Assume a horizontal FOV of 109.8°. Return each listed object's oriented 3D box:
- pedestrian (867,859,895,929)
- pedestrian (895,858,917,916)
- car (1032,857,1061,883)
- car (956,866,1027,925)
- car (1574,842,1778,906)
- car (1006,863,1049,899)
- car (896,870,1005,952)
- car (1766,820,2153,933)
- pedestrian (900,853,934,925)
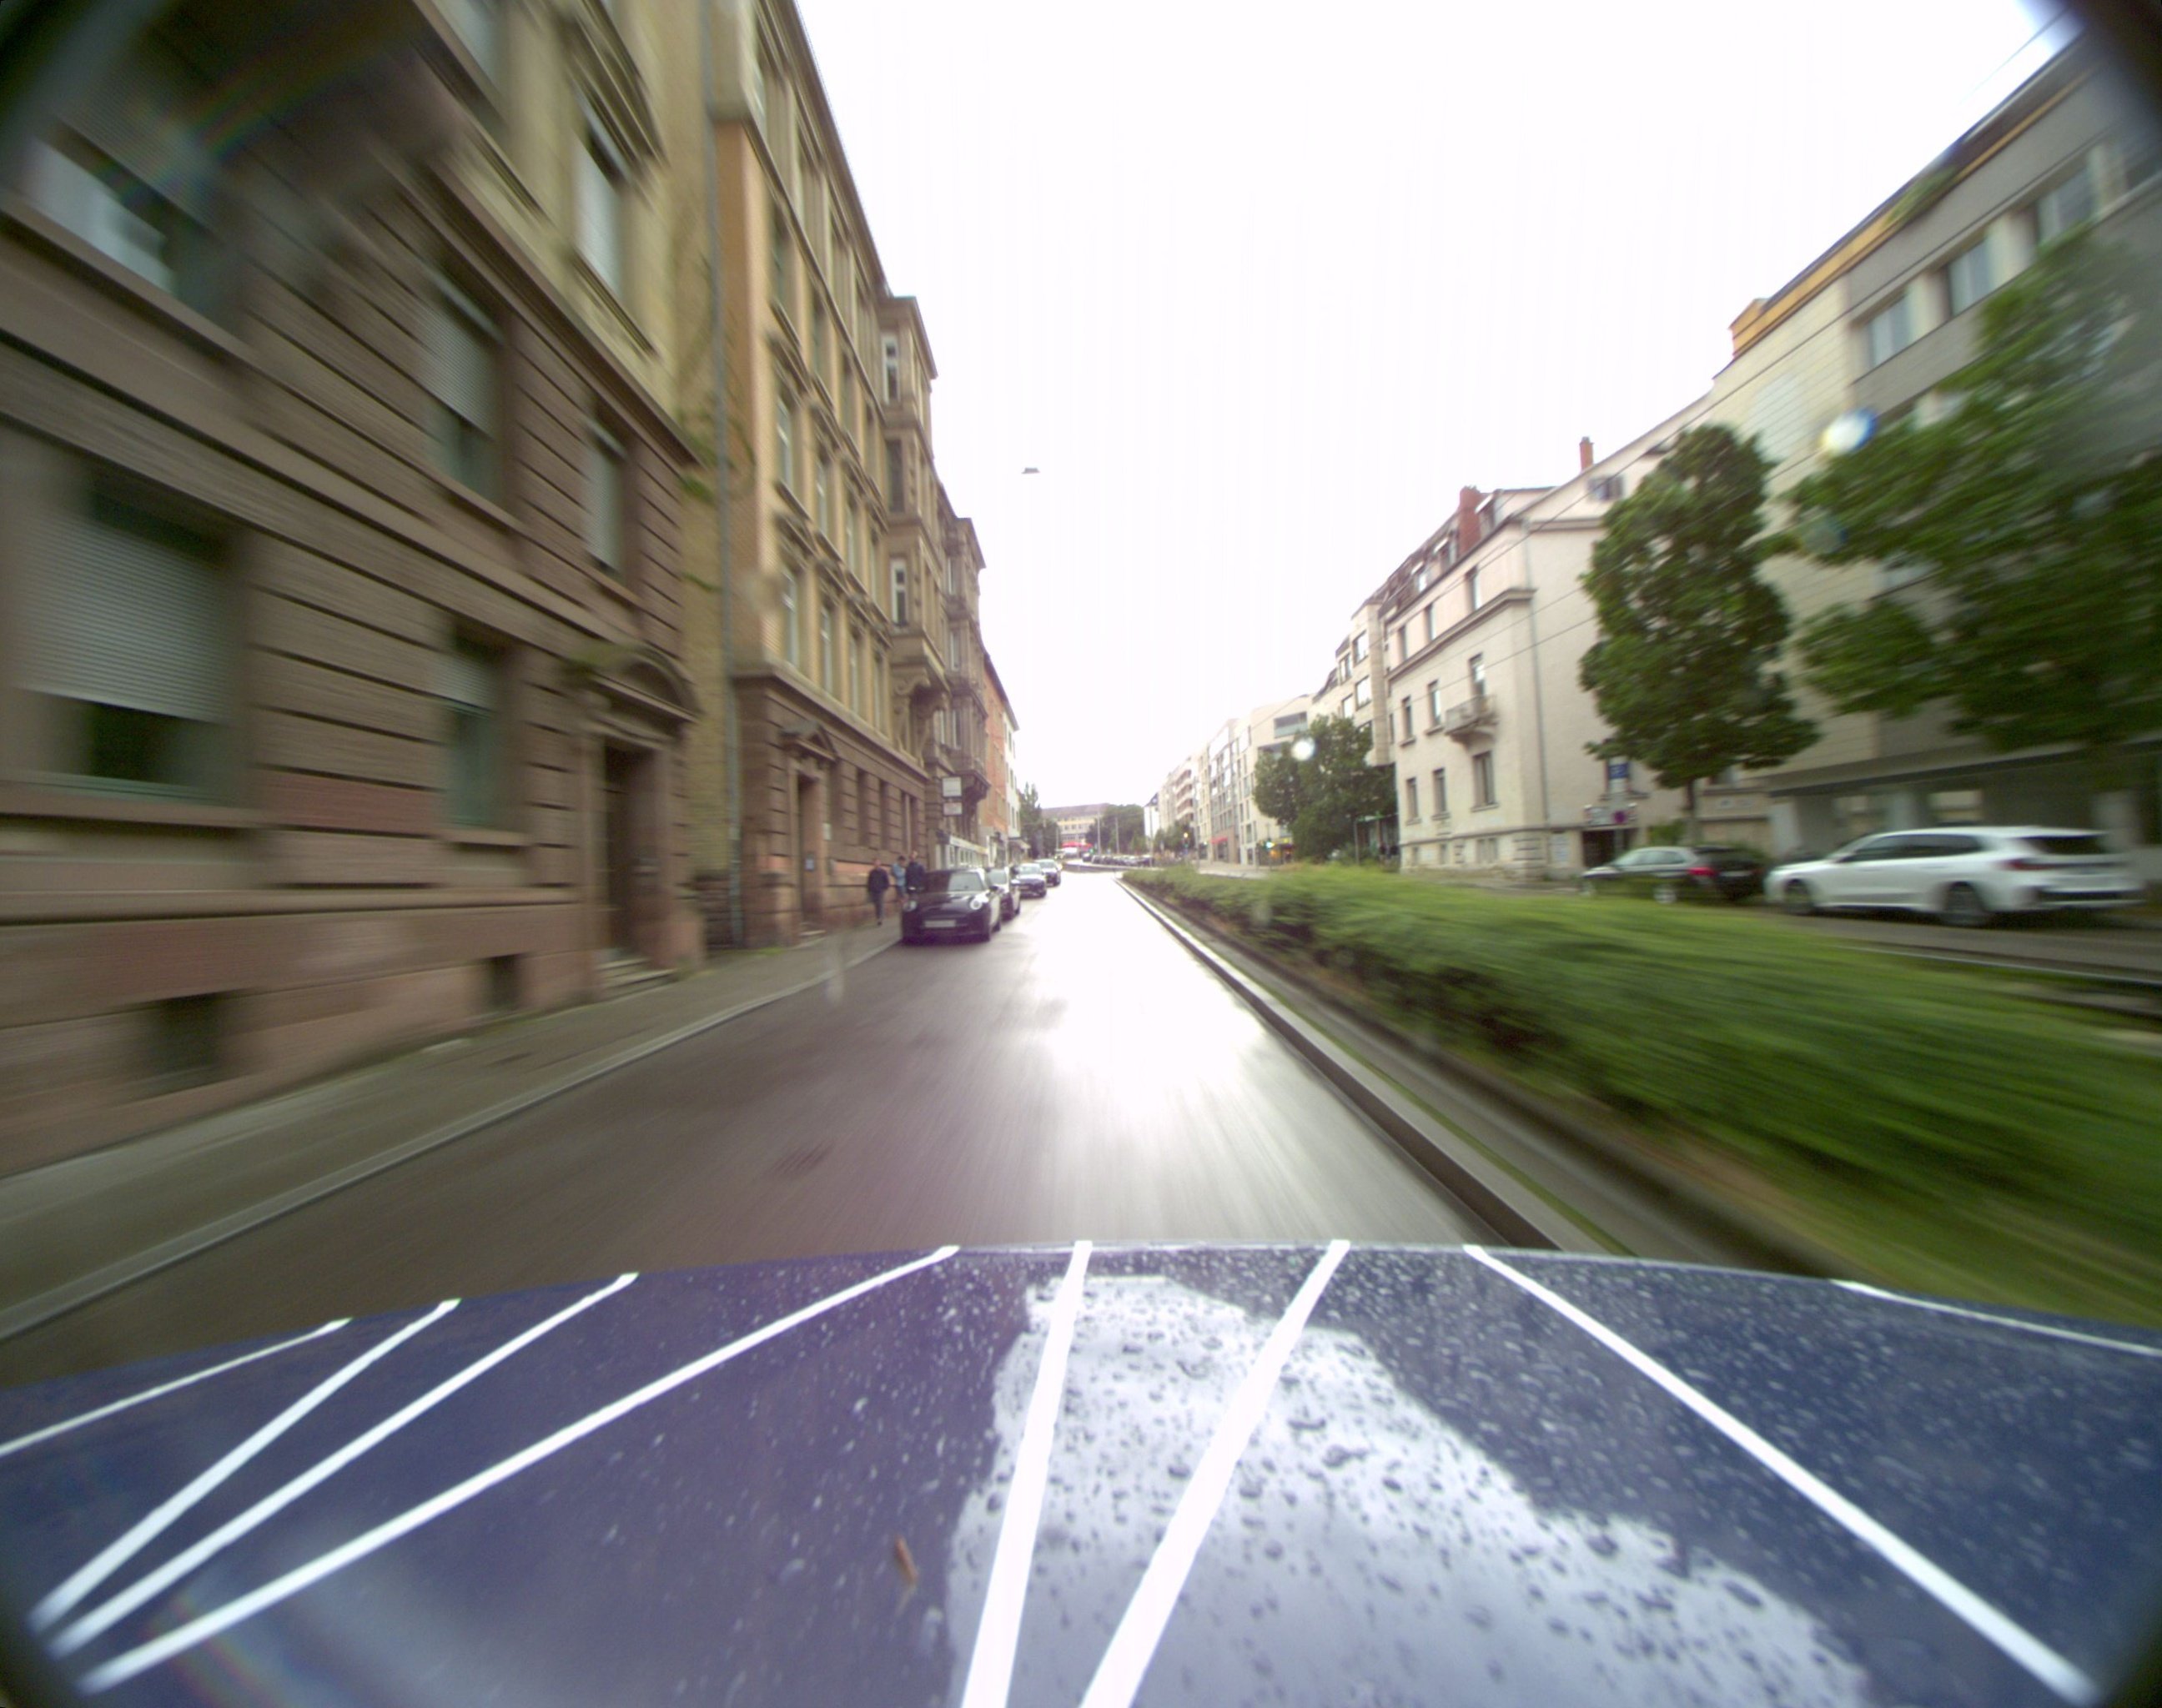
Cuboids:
[{"bbox_3d":[-4.846,0.949,18.407,0.489,1.635,0.631,-2,1,-4],"label":"pedestrian"},{"bbox_3d":[-5.040,0.941,21.919,0.485,1.635,0.463,-2,1,-4],"label":"pedestrian"},{"bbox_3d":[-2.139,0.956,47.703,1.588,1.442,3.977,-2,0,0],"label":"car"},{"bbox_3d":[-2.481,1.109,21.790,1.588,1.405,3.829,-2,0,-1],"label":"car"},{"bbox_3d":[14.706,0.423,19.157,1.718,1.367,4.457,-2,0,2],"label":"car"},{"bbox_3d":[-2.276,1.112,33.086,1.588,1.343,3.977,-2,0,-1],"label":"car"},{"bbox_3d":[-2.569,1.086,15.803,1.628,1.343,3.829,-2,0,-1],"label":"car"},{"bbox_3d":[14.734,0.313,13.216,1.662,1.575,4.337,-2,0,-1],"label":"car"},{"bbox_3d":[-4.147,0.867,19.226,0.653,1.752,0.882,-2,1,-4],"label":"pedestrian"}]
